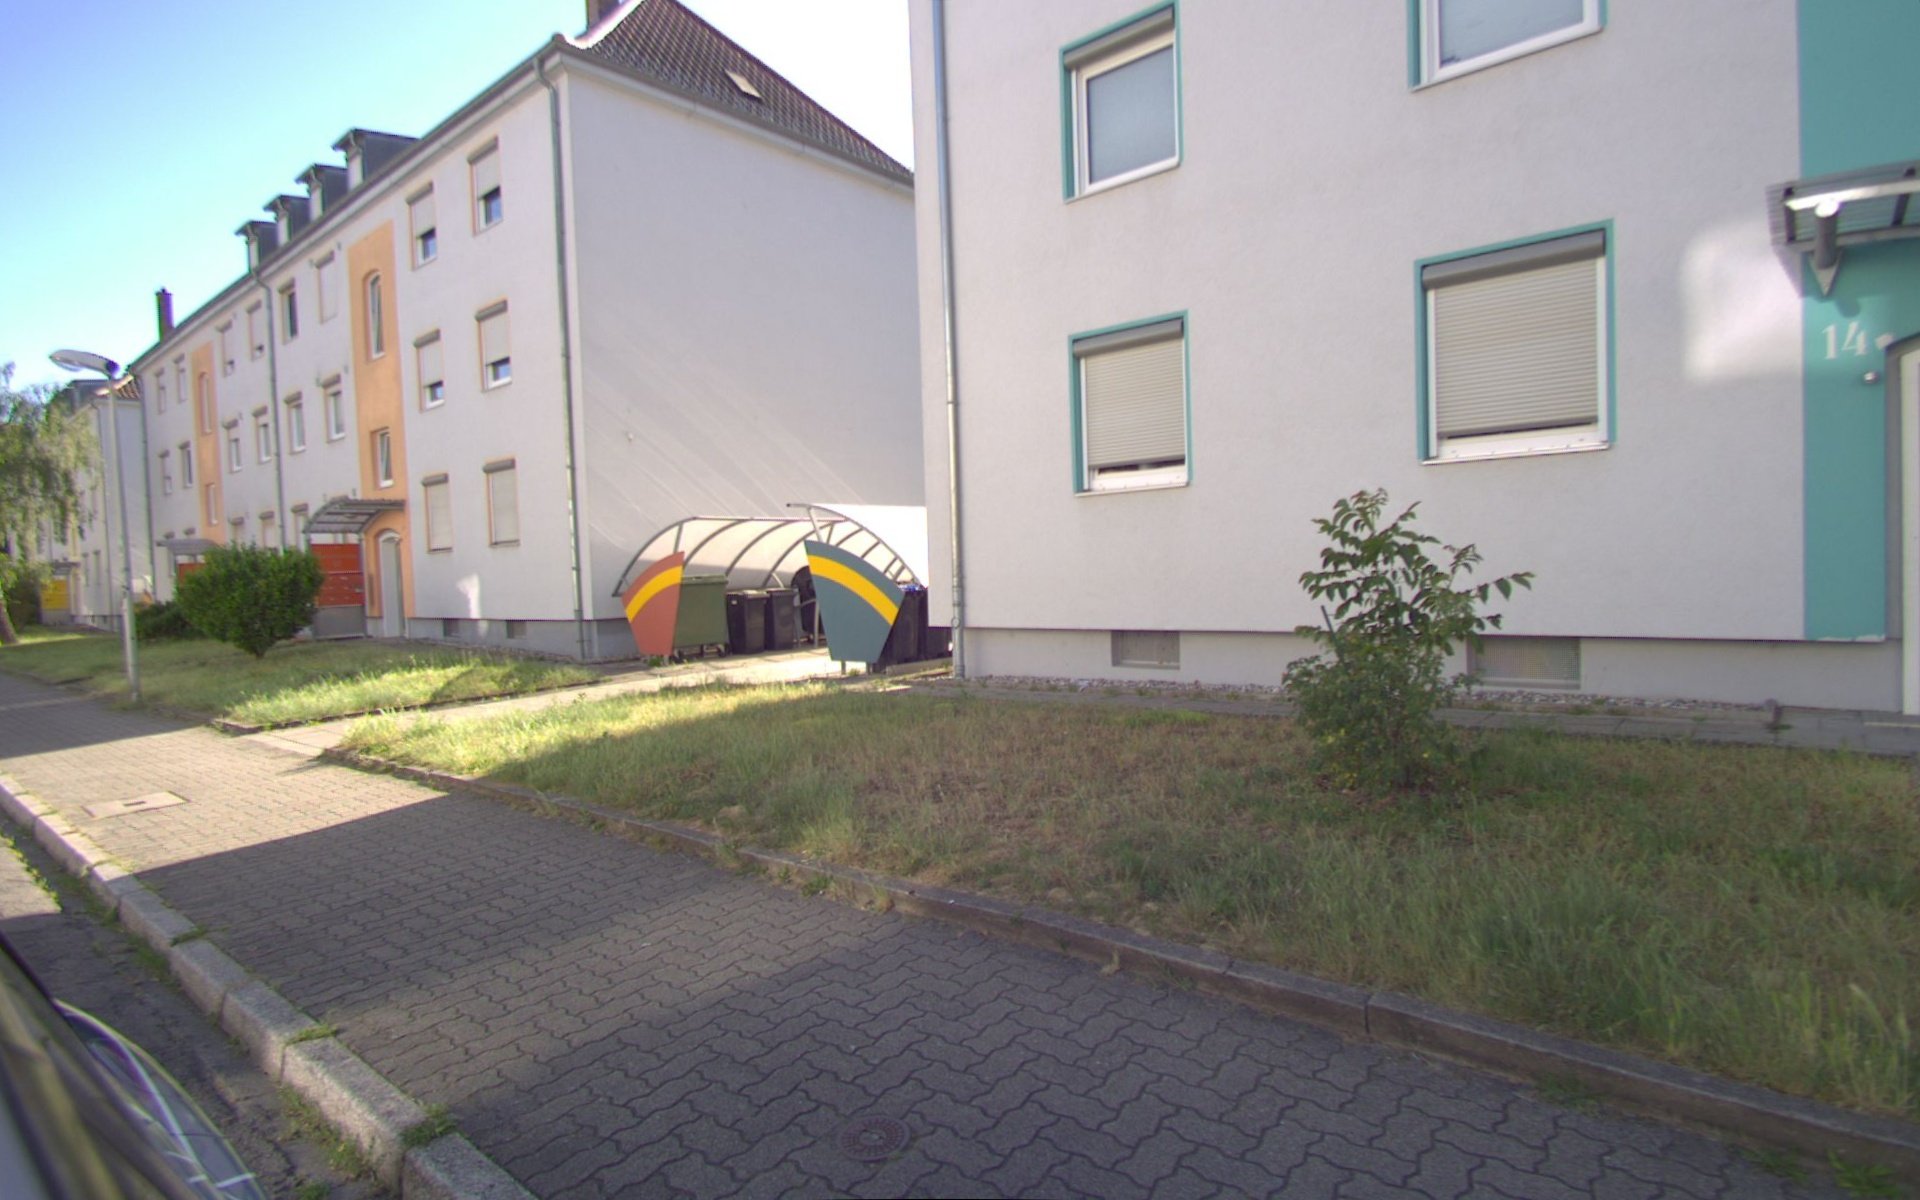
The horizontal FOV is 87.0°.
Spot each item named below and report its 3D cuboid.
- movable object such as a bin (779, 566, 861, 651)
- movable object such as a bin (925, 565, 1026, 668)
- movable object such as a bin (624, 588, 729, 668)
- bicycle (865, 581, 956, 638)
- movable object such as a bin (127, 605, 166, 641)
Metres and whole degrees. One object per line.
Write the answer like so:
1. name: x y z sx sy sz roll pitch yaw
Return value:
1. movable object such as a bin: -2.541 0.147 18.453 0.946 1.452 1.049 -2 2 40
2. movable object such as a bin: 0.234 0.217 14.298 0.903 1.366 1.241 -2 1 30
3. movable object such as a bin: -4.526 0.434 16.191 0.909 1.177 1.300 -2 1 40
4. bicycle: -0.998 0.197 20.028 1.940 1.075 0.503 -2 2 42
5. movable object such as a bin: -33.870 0.949 42.125 0.812 1.416 1.073 -2 2 41
